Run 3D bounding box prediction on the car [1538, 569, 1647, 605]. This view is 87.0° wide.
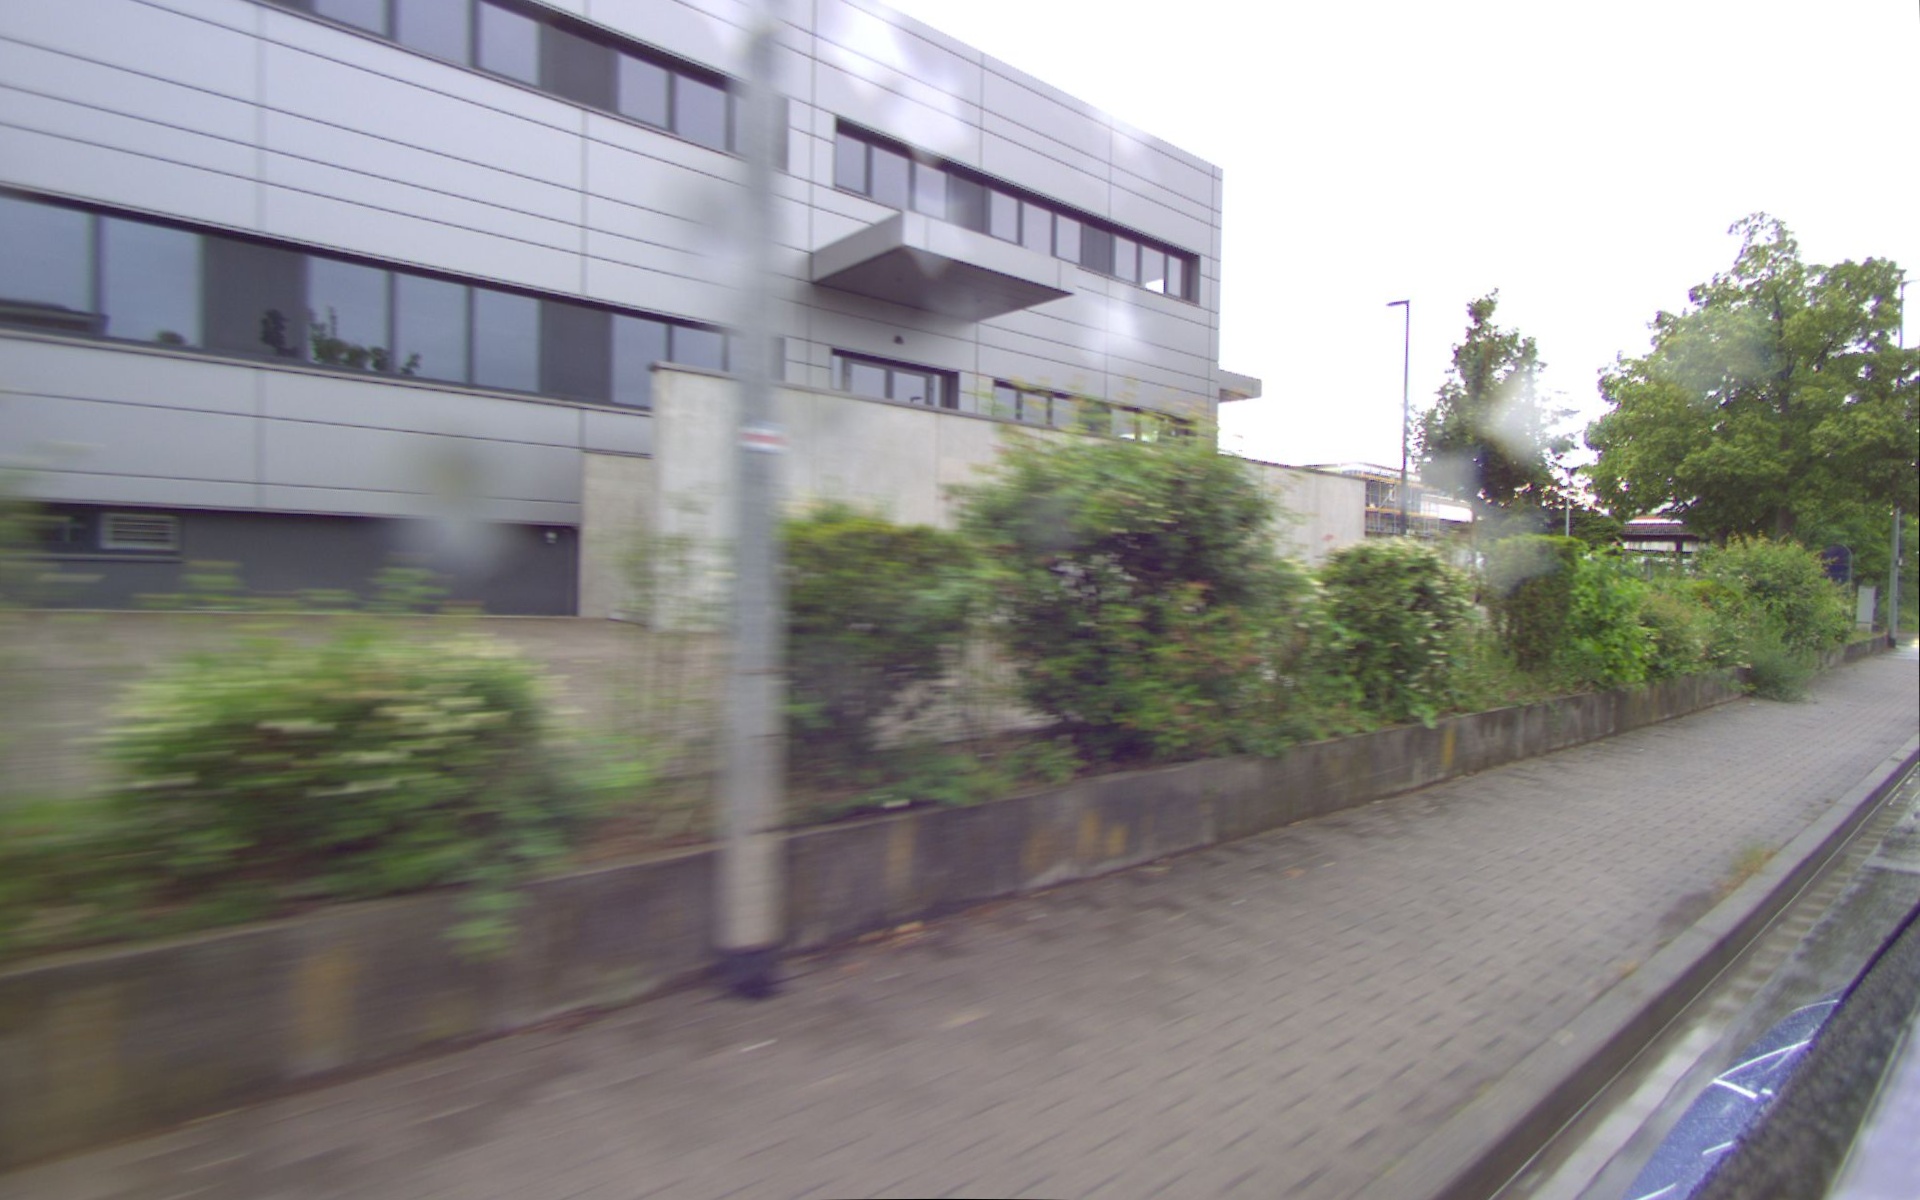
[{"bbox_3d":[28.915,-0.592,46.335,1.738,1.517,3.886,1,1,-42],"label":"car"}]

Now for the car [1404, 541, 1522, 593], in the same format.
[{"bbox_3d":[25.236,-1.660,50.950,1.962,2.468,4.920,1,1,-35],"label":"car"}]
